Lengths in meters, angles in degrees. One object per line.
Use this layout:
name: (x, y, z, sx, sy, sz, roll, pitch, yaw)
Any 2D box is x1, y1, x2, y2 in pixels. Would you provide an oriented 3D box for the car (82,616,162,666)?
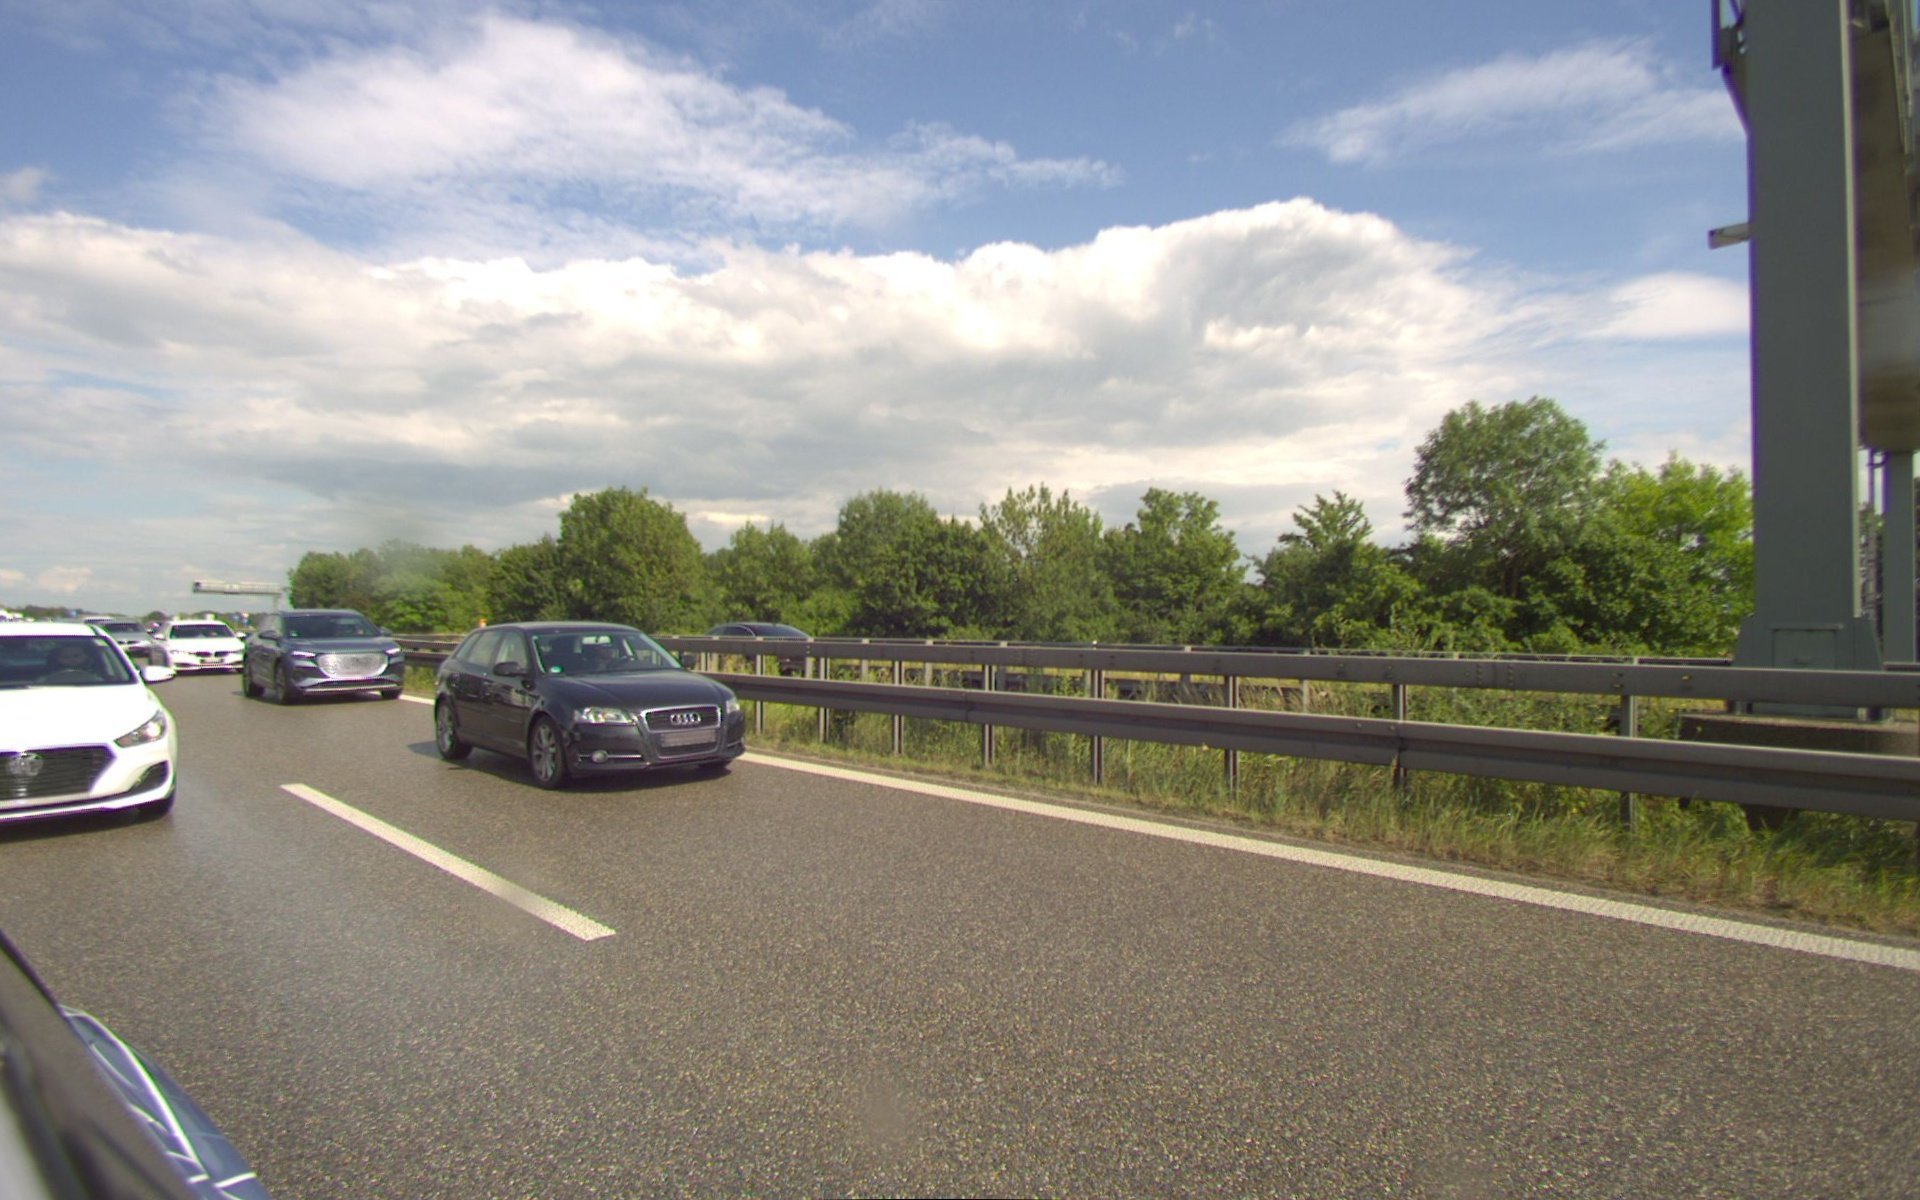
car: (-32.517, 1.539, 39.226, 4.001, 1.762, 1.971, 0, 1, 44)

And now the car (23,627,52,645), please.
car: (-96.131, 3.754, 105.416, 4.001, 1.710, 1.971, 0, 1, 44)

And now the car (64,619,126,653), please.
car: (-43.224, 1.764, 50.540, 4.001, 1.490, 1.971, 0, 1, 44)

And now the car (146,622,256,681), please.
car: (-20.381, 1.324, 27.121, 4.001, 1.389, 1.747, 0, -1, 44)

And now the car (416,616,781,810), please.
car: (-3.642, 0.889, 9.745, 1.746, 1.436, 4.141, -1, 0, -44)

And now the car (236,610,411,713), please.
car: (-11.582, 1.016, 18.290, 1.849, 1.618, 4.231, 0, -1, -44)

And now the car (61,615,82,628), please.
car: (-125.284, 3.042, 142.719, 1.971, 1.792, 4.463, 0, -1, -45)

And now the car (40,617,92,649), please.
car: (-52.538, 1.877, 59.443, 4.001, 1.710, 1.971, 0, 1, 44)

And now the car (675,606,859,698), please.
car: (-4.154, 1.026, 21.413, 1.970, 1.748, 4.003, 1, -1, -44)

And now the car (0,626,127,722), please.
car: (-14.916, 1.114, 16.432, 4.289, 1.348, 1.705, -1, -1, 45)

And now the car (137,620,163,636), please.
car: (-102.714, 3.558, 128.299, 4.654, 2.029, 1.971, -1, -1, 44)

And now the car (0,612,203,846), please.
car: (-7.581, 0.853, 8.038, 4.550, 1.466, 1.860, -1, -1, 45)

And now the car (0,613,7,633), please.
car: (-87.826, 2.069, 91.668, 4.001, 1.710, 1.971, 0, 1, 44)

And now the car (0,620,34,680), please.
car: (-26.559, 1.332, 27.404, 4.001, 1.497, 1.971, 0, 0, 44)
